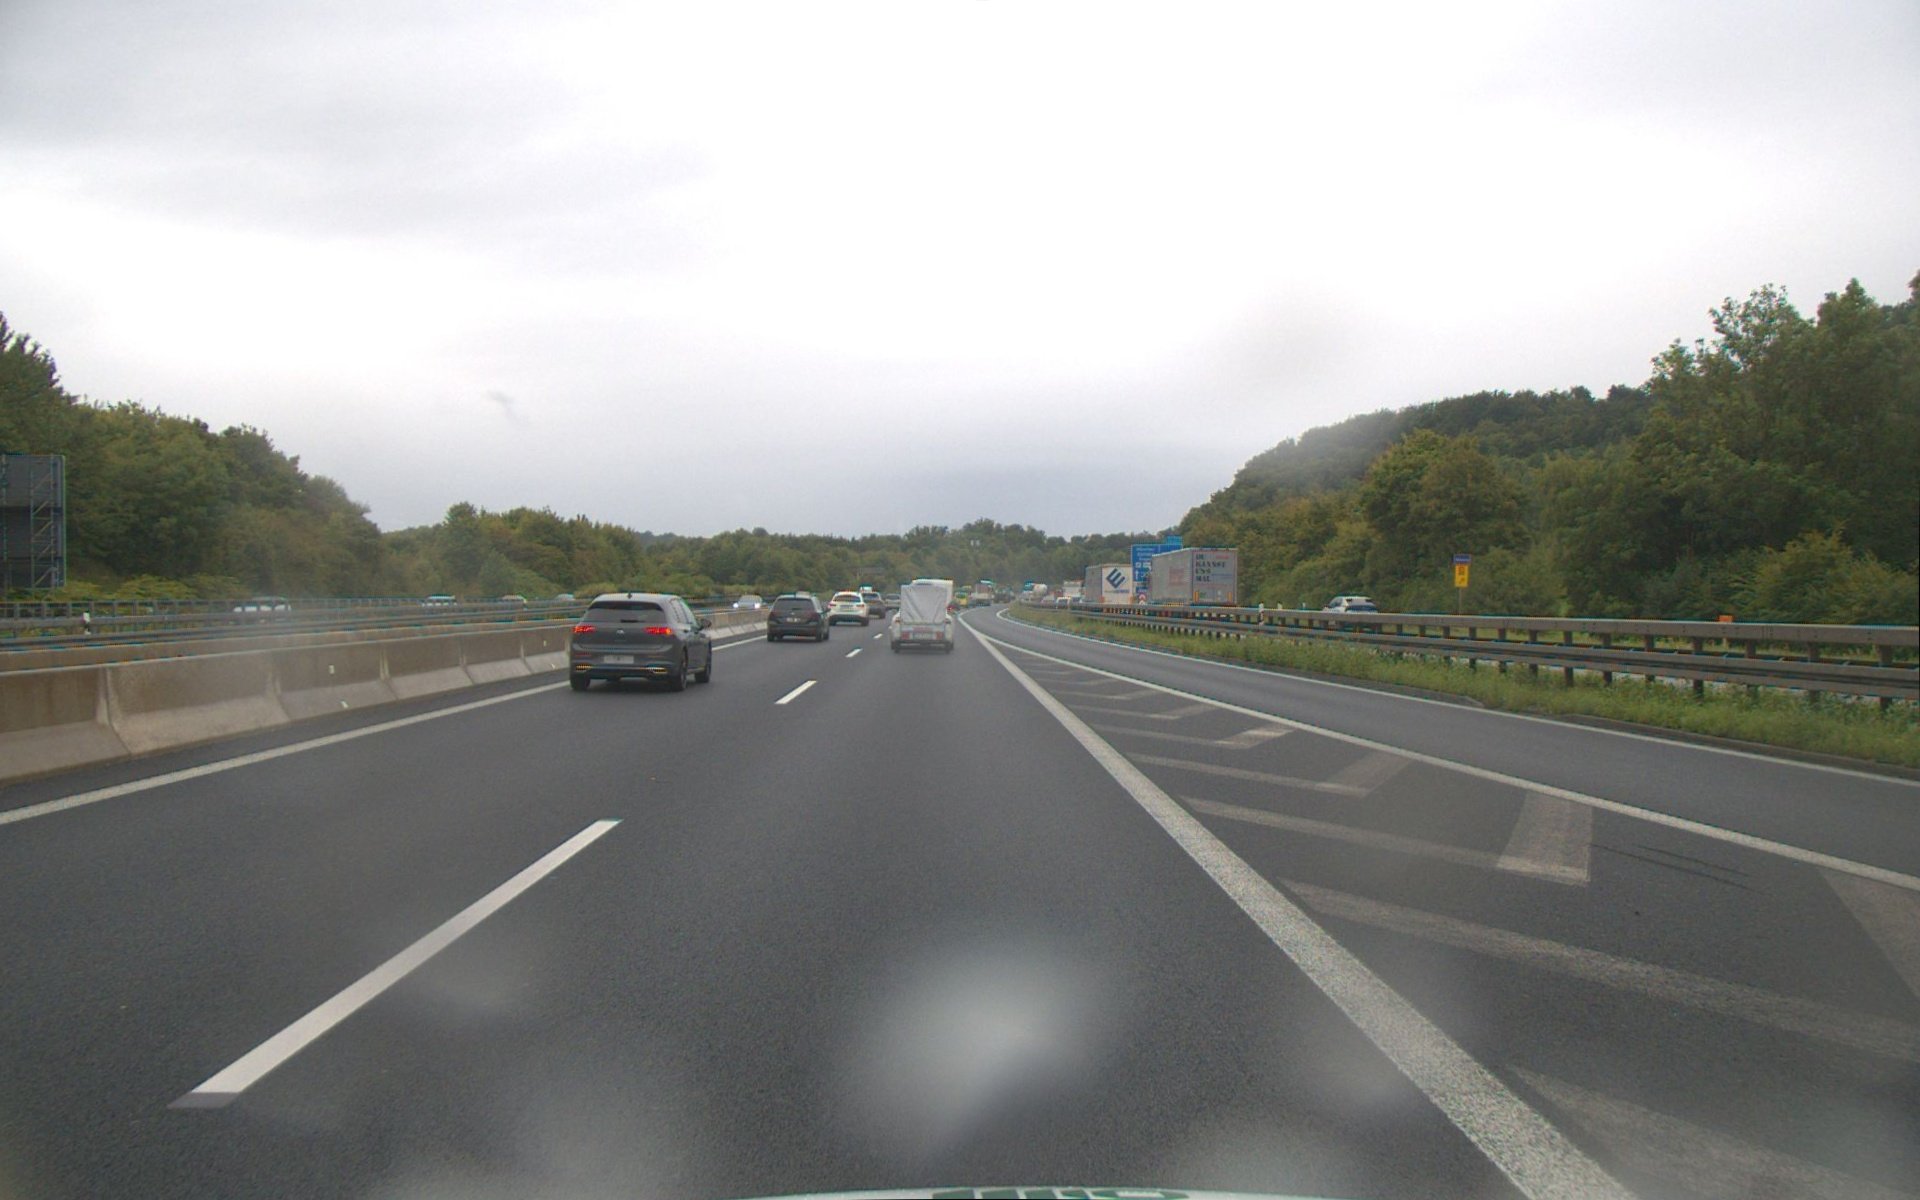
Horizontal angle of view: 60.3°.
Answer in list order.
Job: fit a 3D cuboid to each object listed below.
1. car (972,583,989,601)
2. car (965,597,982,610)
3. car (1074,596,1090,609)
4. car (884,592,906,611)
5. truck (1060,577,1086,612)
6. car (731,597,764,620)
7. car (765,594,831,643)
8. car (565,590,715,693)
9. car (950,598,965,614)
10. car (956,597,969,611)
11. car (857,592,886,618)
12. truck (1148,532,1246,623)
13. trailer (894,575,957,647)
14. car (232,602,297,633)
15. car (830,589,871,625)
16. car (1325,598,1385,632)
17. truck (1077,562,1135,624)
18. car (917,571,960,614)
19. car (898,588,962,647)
[{"bbox_3d":[3.122,-1.267,253.320,2.464,2.620,5.313,1,0,1],"label":"car"},{"bbox_3d":[1.889,0.502,229.515,1.994,1.712,4.003,1,0,6],"label":"car"},{"bbox_3d":[14.053,0.333,190.360,1.641,1.481,4.000,1,0,1],"label":"car"},{"bbox_3d":[-6.113,0.162,155.638,1.739,1.669,4.044,1,0,2],"label":"car"},{"bbox_3d":[16.054,-0.689,234.628,3.586,4.748,13.038,1,0,4],"label":"truck"},{"bbox_3d":[-14.673,0.593,114.249,1.720,1.481,4.417,1,0,-1],"label":"car"},{"bbox_3d":[-5.190,0.589,53.537,1.729,1.481,3.999,1,0,0],"label":"car"},{"bbox_3d":[-4.994,0.611,26.301,1.642,1.481,3.999,1,0,-1],"label":"car"},{"bbox_3d":[-0.259,0.678,188.110,1.641,1.844,4.000,1,0,1],"label":"car"},{"bbox_3d":[0.345,0.534,216.675,1.641,1.844,4.000,1,0,1],"label":"car"},{"bbox_3d":[-5.801,0.321,108.392,1.739,1.669,4.042,1,0,-1],"label":"car"},{"bbox_3d":[13.186,-1.159,93.253,3.151,4.748,13.027,1,0,-2],"label":"truck"},{"bbox_3d":[-0.926,0.299,45.614,1.641,1.844,3.999,1,0,0],"label":"trailer"},{"bbox_3d":[-35.794,0.885,85.198,1.642,1.481,3.999,1,0,-1],"label":"car"},{"bbox_3d":[-5.354,0.346,81.288,1.739,1.669,4.042,1,0,-1],"label":"car"},{"bbox_3d":[17.846,0.664,74.897,1.642,1.481,3.998,1,0,-2],"label":"car"},{"bbox_3d":[11.810,-0.531,135.047,3.151,4.748,13.027,1,0,-2],"label":"truck"},{"bbox_3d":[-1.350,-0.462,105.377,2.456,2.630,5.700,1,0,1],"label":"car"},{"bbox_3d":[-0.896,0.509,49.436,1.781,1.644,4.776,1,0,-1],"label":"car"}]
